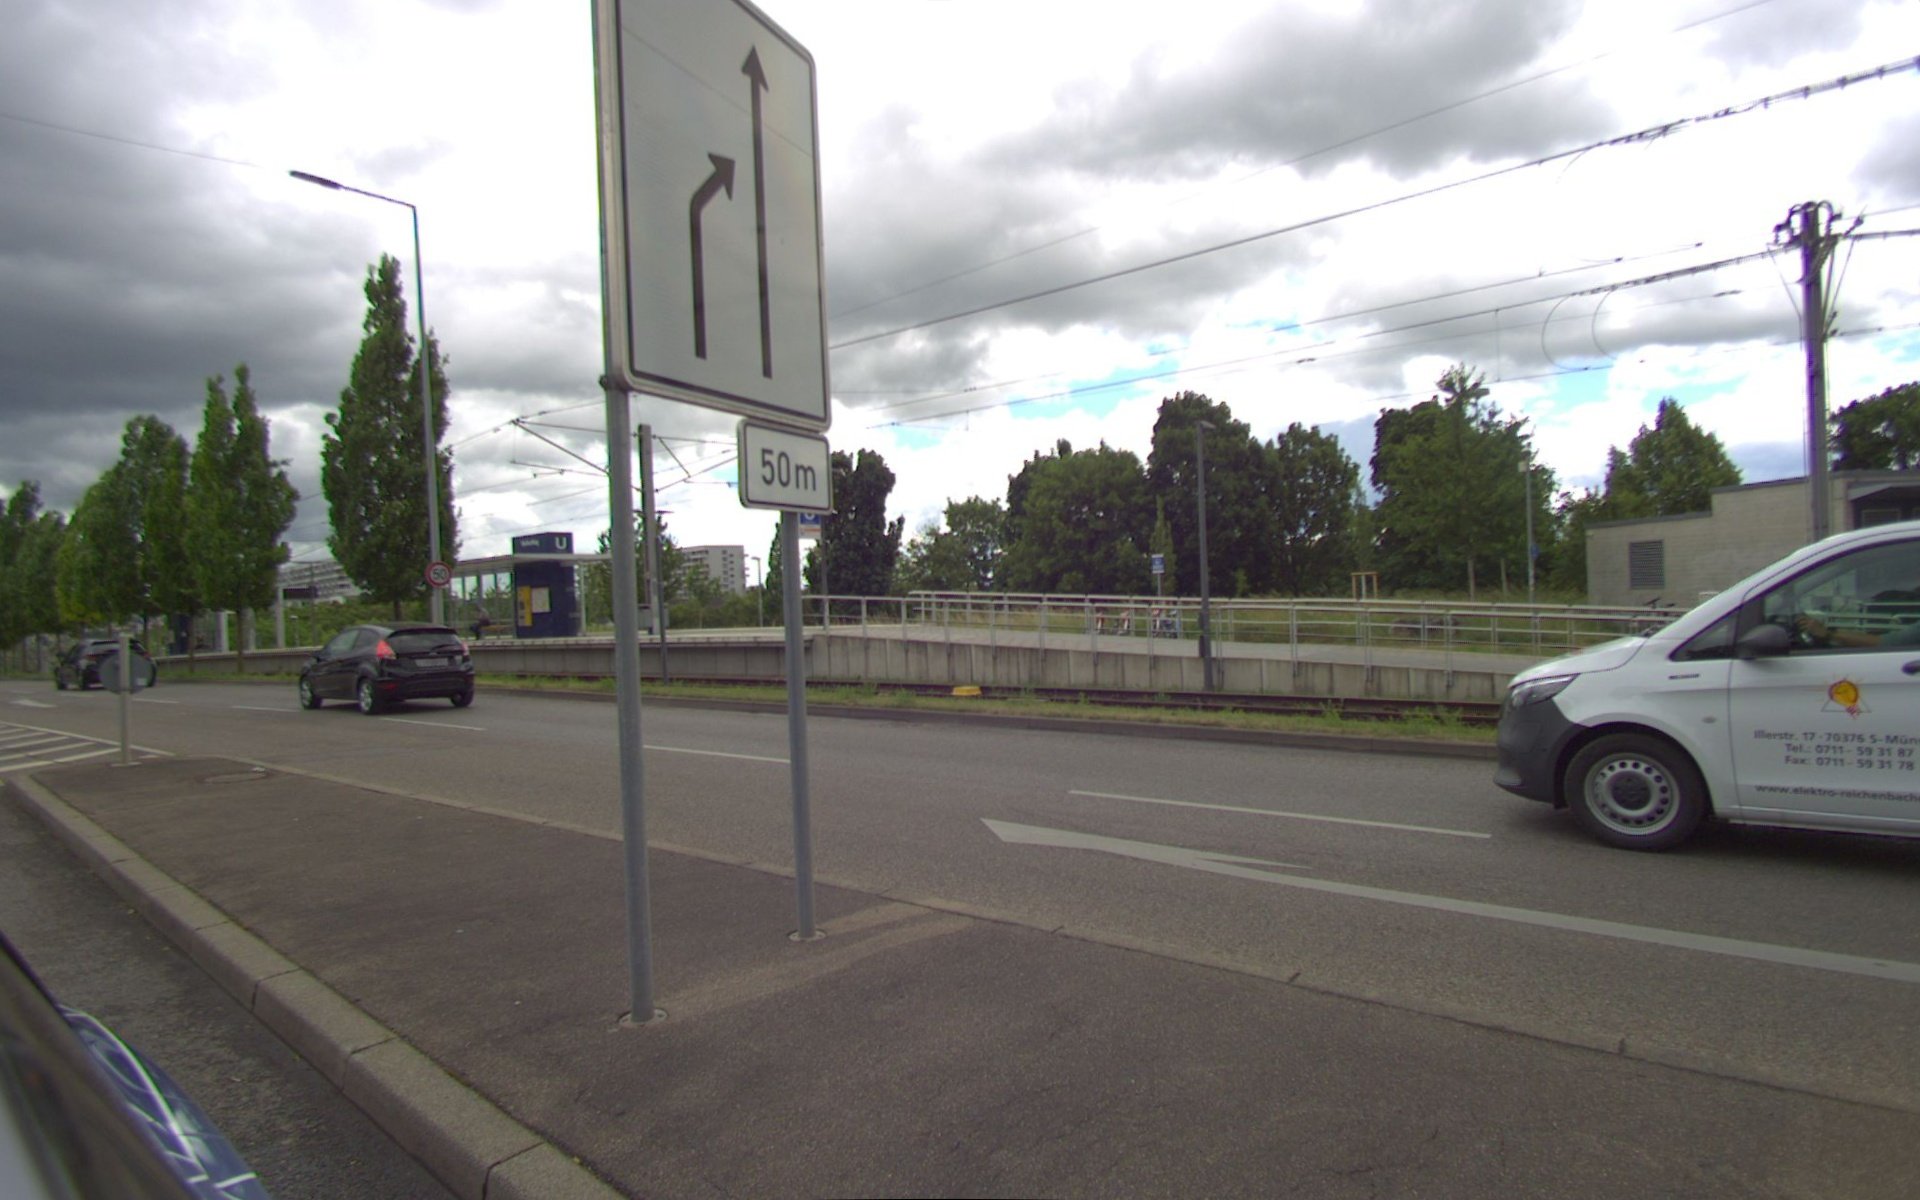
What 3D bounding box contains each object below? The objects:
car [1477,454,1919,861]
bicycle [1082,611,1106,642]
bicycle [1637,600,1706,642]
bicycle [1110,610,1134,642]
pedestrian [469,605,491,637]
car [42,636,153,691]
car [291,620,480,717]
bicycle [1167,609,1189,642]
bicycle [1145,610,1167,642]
[{"bbox_3d":[5.811,0.266,5.111,5.376,1.979,1.893,-1,0,45],"label":"car"},{"bbox_3d":[4.602,0.898,34.774,0.531,1.039,1.804,-1,0,16],"label":"bicycle"},{"bbox_3d":[18.248,0.521,25.998,0.529,1.039,1.813,-1,0,1],"label":"bicycle"},{"bbox_3d":[5.504,0.881,34.335,0.531,1.039,1.804,-1,0,16],"label":"bicycle"},{"bbox_3d":[-17.992,0.788,37.918,0.447,1.163,0.593,-1,0,41],"label":"pedestrian"},{"bbox_3d":[-25.323,1.850,29.689,3.928,1.460,1.680,-3,-1,37],"label":"car"},{"bbox_3d":[-9.898,1.102,17.350,3.658,1.460,1.678,-2,-1,41],"label":"car"},{"bbox_3d":[7.244,0.832,33.591,0.531,1.039,1.804,-1,0,16],"label":"bicycle"},{"bbox_3d":[6.560,0.855,33.882,0.531,1.039,1.804,-1,0,16],"label":"bicycle"}]
